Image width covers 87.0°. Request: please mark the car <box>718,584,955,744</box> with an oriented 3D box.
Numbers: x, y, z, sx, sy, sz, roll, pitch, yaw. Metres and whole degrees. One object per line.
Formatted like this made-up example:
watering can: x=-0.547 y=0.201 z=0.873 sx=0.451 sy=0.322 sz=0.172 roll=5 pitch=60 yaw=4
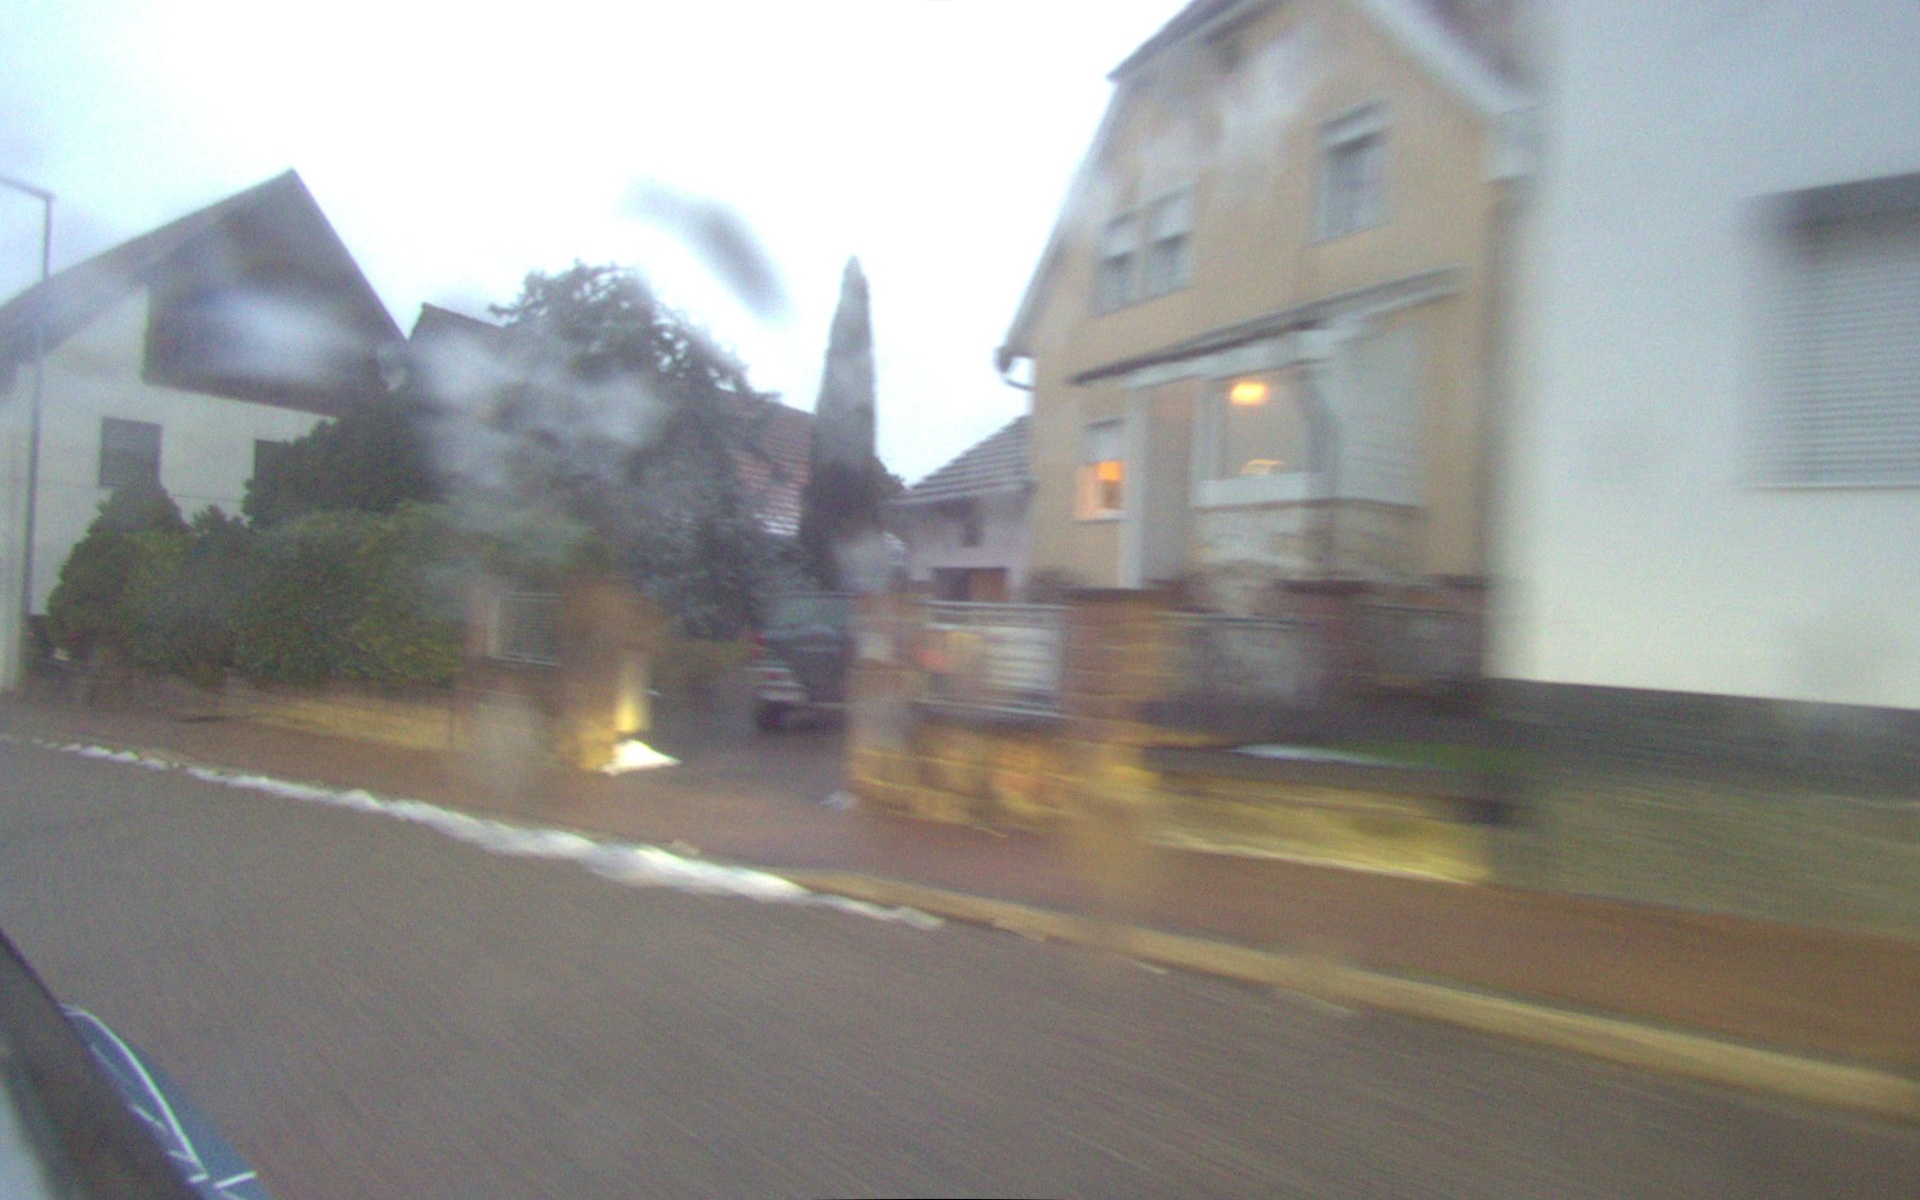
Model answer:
car: x=-1.343 y=0.651 z=12.555 sx=1.891 sy=1.667 sz=3.622 roll=0 pitch=0 yaw=12
